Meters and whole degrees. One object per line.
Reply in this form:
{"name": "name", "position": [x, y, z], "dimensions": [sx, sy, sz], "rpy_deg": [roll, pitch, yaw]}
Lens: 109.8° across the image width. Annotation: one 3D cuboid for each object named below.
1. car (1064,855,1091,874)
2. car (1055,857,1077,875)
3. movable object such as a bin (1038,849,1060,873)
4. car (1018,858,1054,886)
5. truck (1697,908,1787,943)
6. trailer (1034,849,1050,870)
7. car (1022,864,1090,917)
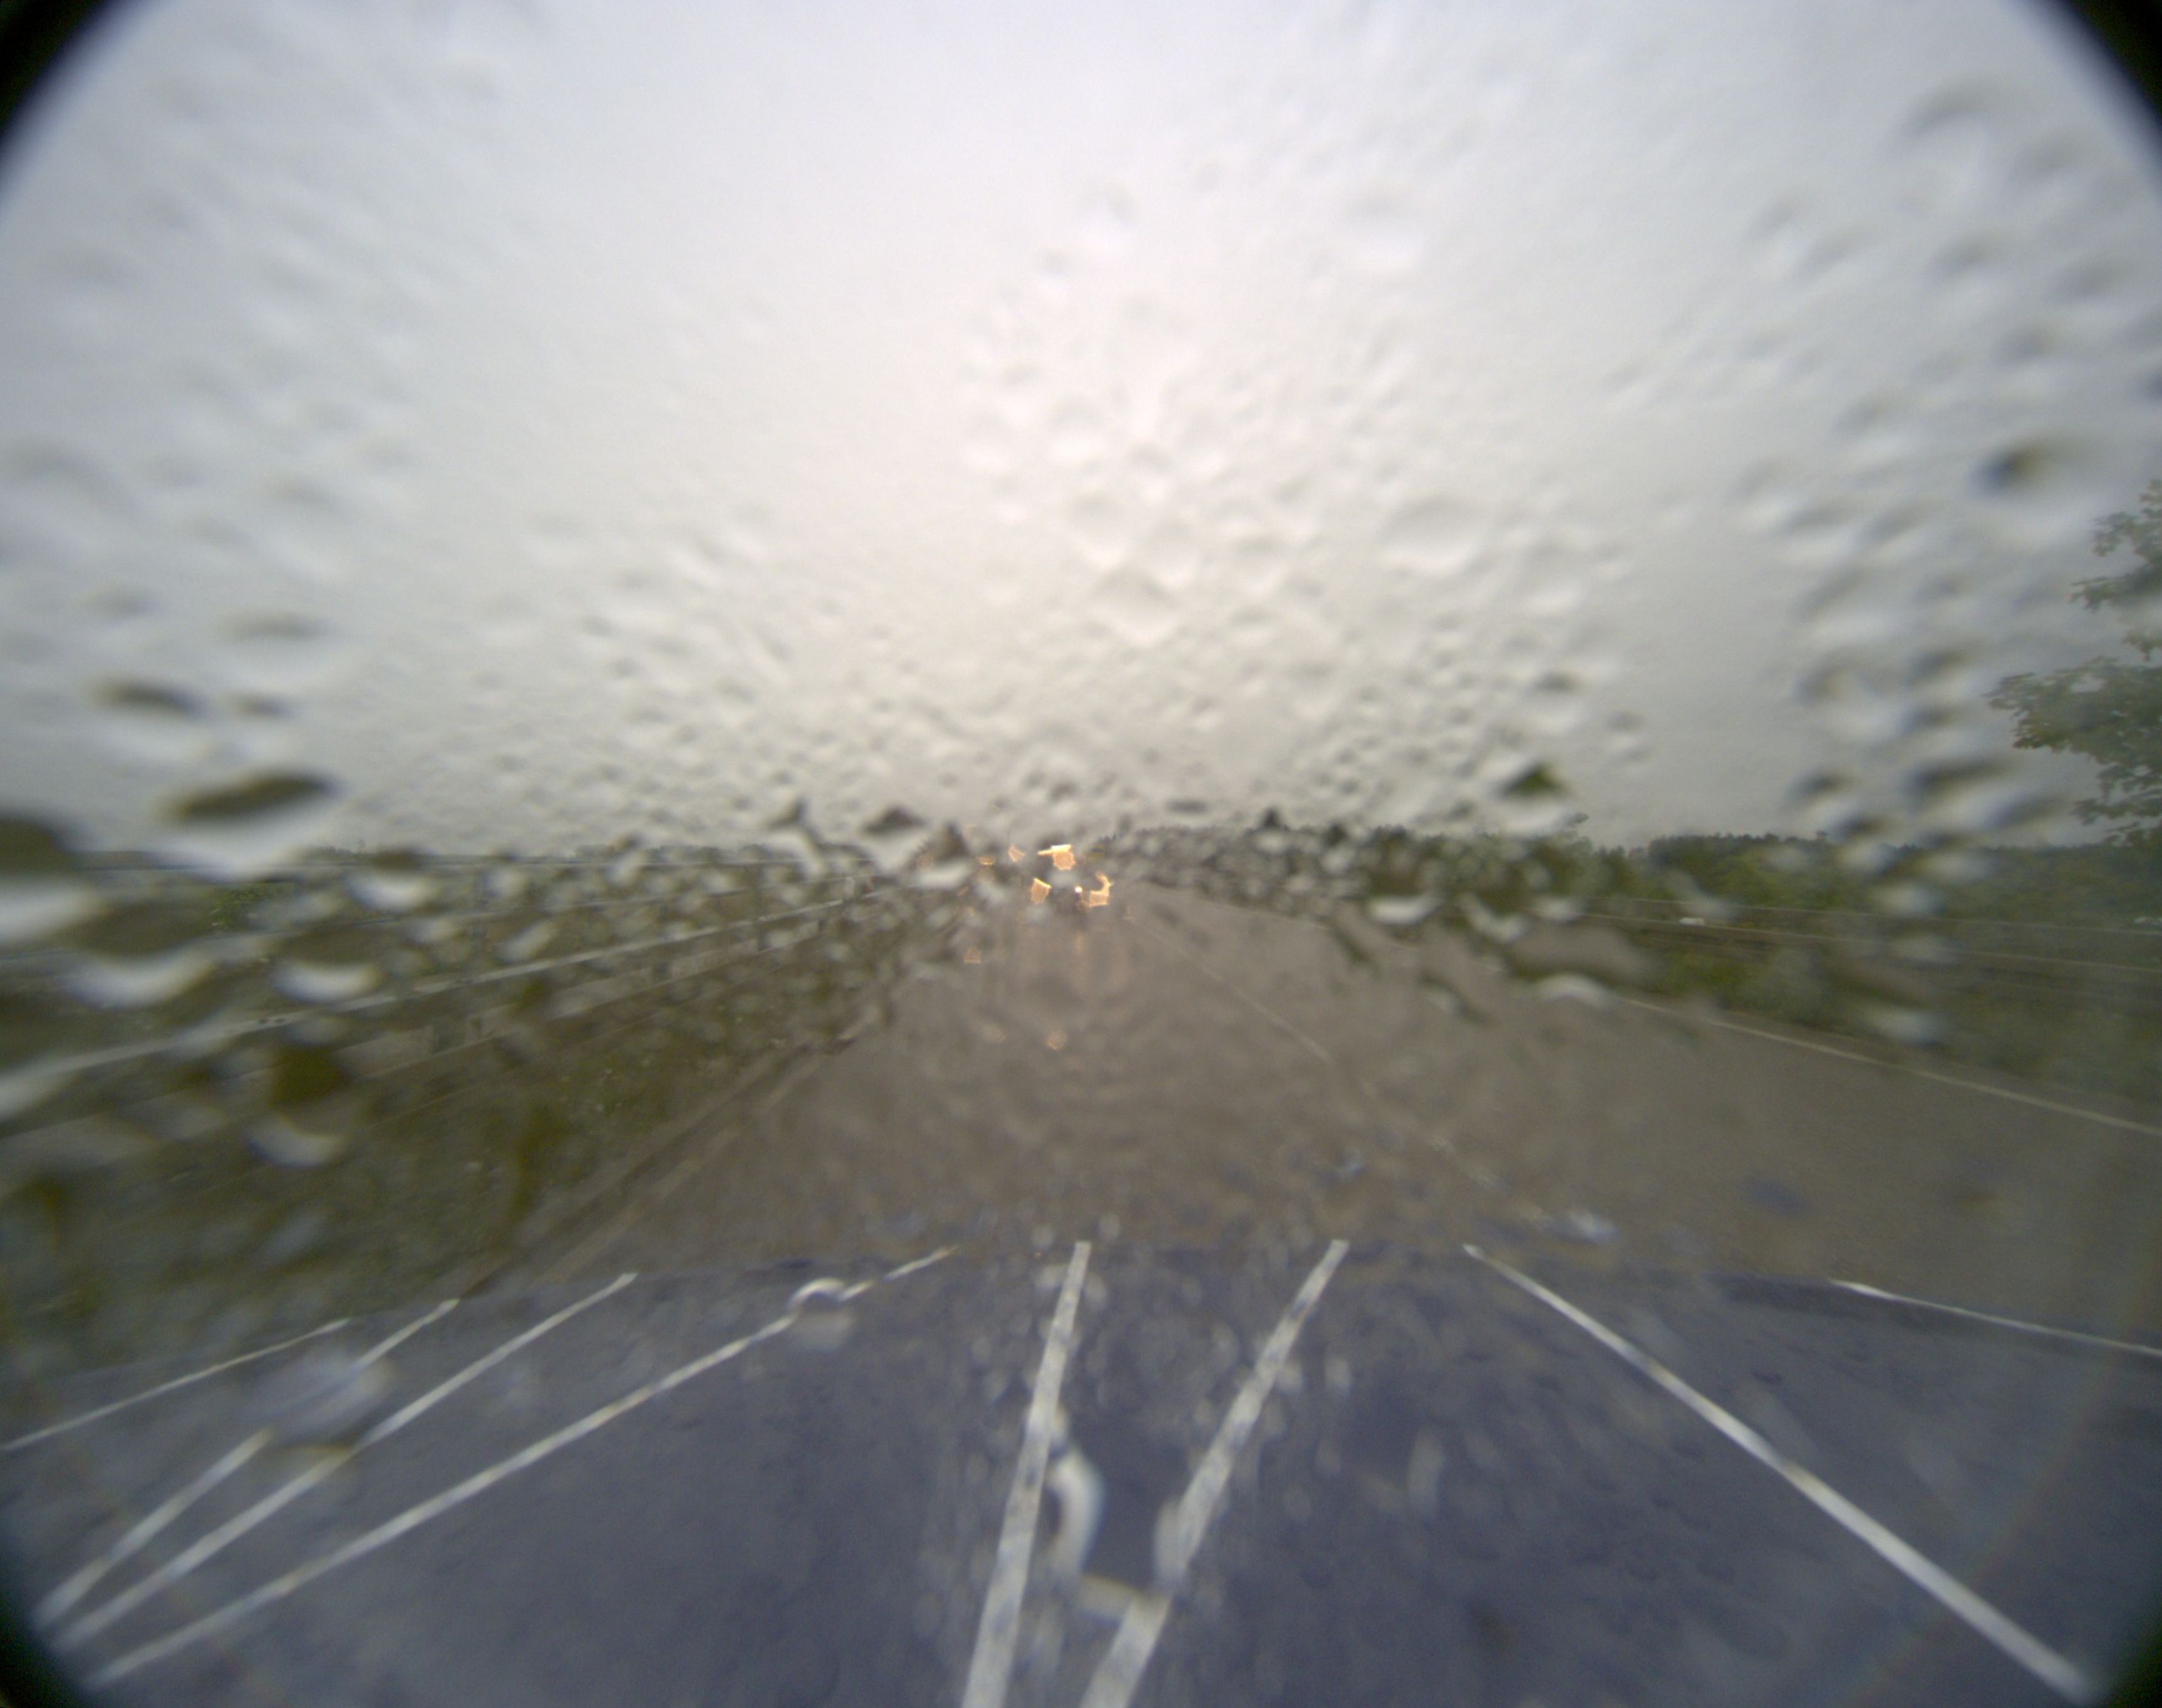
{"name": "car", "position": [-0.335, 0.882, 63.167], "dimensions": [1.844, 1.528, 4.067], "rpy_deg": [1, -1, -5]}
{"name": "car", "position": [-1.591, 1.221, 78.723], "dimensions": [2.072, 1.826, 4.930], "rpy_deg": [1, -1, -3]}
{"name": "movable object such as a bin", "position": [-4.733, 1.066, 111.554], "dimensions": [2.757, 3.425, 4.640], "rpy_deg": [1, 0, -7]}
{"name": "car", "position": [-2.406, 0.915, 40.494], "dimensions": [1.820, 1.382, 4.067], "rpy_deg": [0, 0, -4]}
{"name": "truck", "position": [80.105, 8.606, 92.088], "dimensions": [10.651, 3.847, 2.782], "rpy_deg": [1, 0, -16]}
{"name": "trailer", "position": [-7.933, 1.158, 153.652], "dimensions": [2.826, 3.946, 13.731], "rpy_deg": [0, -1, -5]}
{"name": "car", "position": [-0.840, 1.009, 22.586], "dimensions": [1.820, 1.382, 4.067], "rpy_deg": [-1, 0, -5]}
